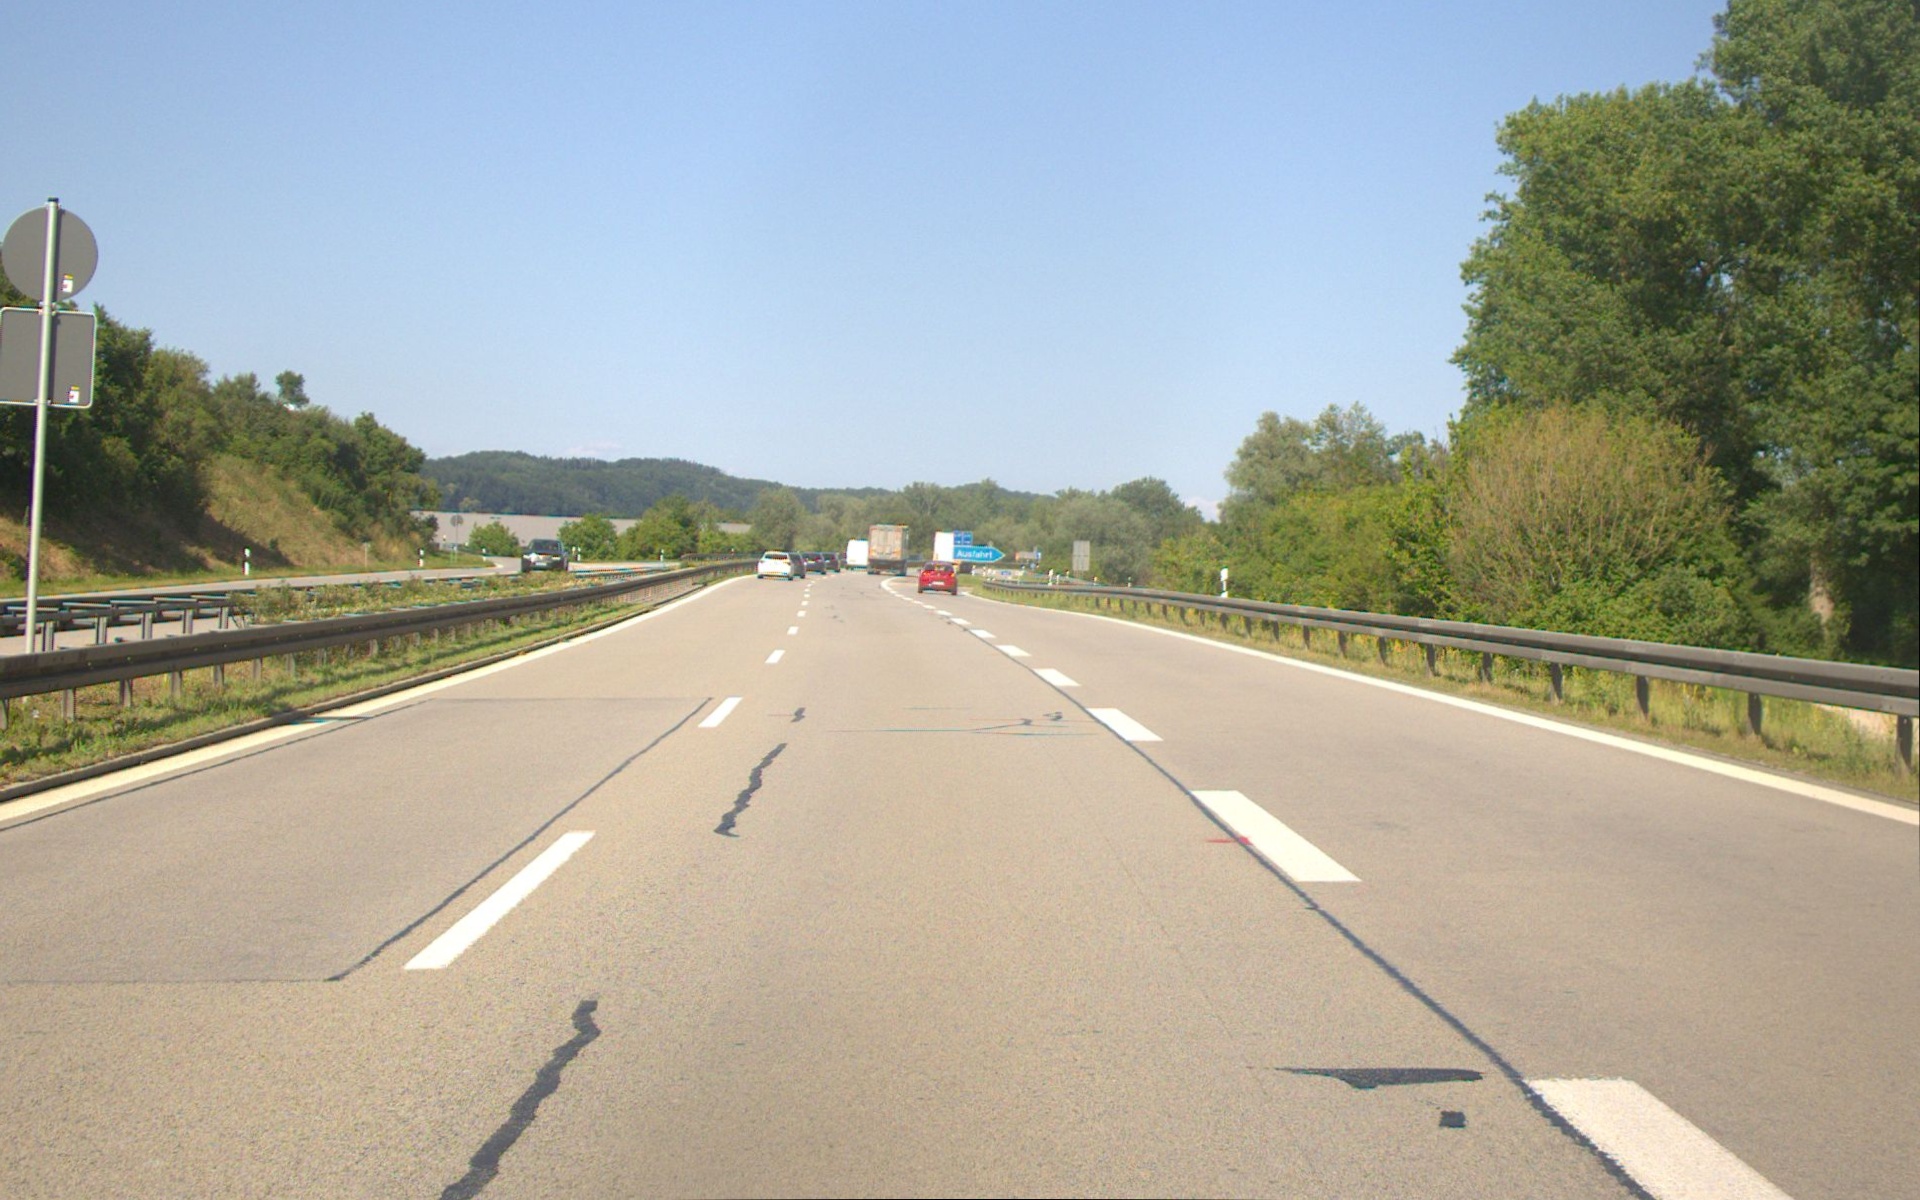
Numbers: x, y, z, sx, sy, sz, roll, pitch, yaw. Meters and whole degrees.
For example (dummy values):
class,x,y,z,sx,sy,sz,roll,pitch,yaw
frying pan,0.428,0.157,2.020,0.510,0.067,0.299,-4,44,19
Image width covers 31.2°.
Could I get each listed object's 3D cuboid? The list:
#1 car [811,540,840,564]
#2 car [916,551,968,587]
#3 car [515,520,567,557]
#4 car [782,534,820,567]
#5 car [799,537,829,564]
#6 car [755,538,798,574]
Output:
class,x,y,z,sx,sy,sz,roll,pitch,yaw
car,-10.253,-3.688,261.656,1.993,1.744,4.000,2,1,0
car,-0.808,-1.407,155.254,1.784,1.426,3.999,5,0,6
car,-19.756,-2.885,162.283,1.993,1.639,5.084,1,0,-2
car,-8.852,-2.764,191.465,1.993,1.744,4.001,2,1,-2
car,-9.841,-3.343,231.931,1.993,1.744,4.001,2,1,-2
car,-9.332,-2.231,174.982,2.061,1.619,4.000,1,-1,-2
